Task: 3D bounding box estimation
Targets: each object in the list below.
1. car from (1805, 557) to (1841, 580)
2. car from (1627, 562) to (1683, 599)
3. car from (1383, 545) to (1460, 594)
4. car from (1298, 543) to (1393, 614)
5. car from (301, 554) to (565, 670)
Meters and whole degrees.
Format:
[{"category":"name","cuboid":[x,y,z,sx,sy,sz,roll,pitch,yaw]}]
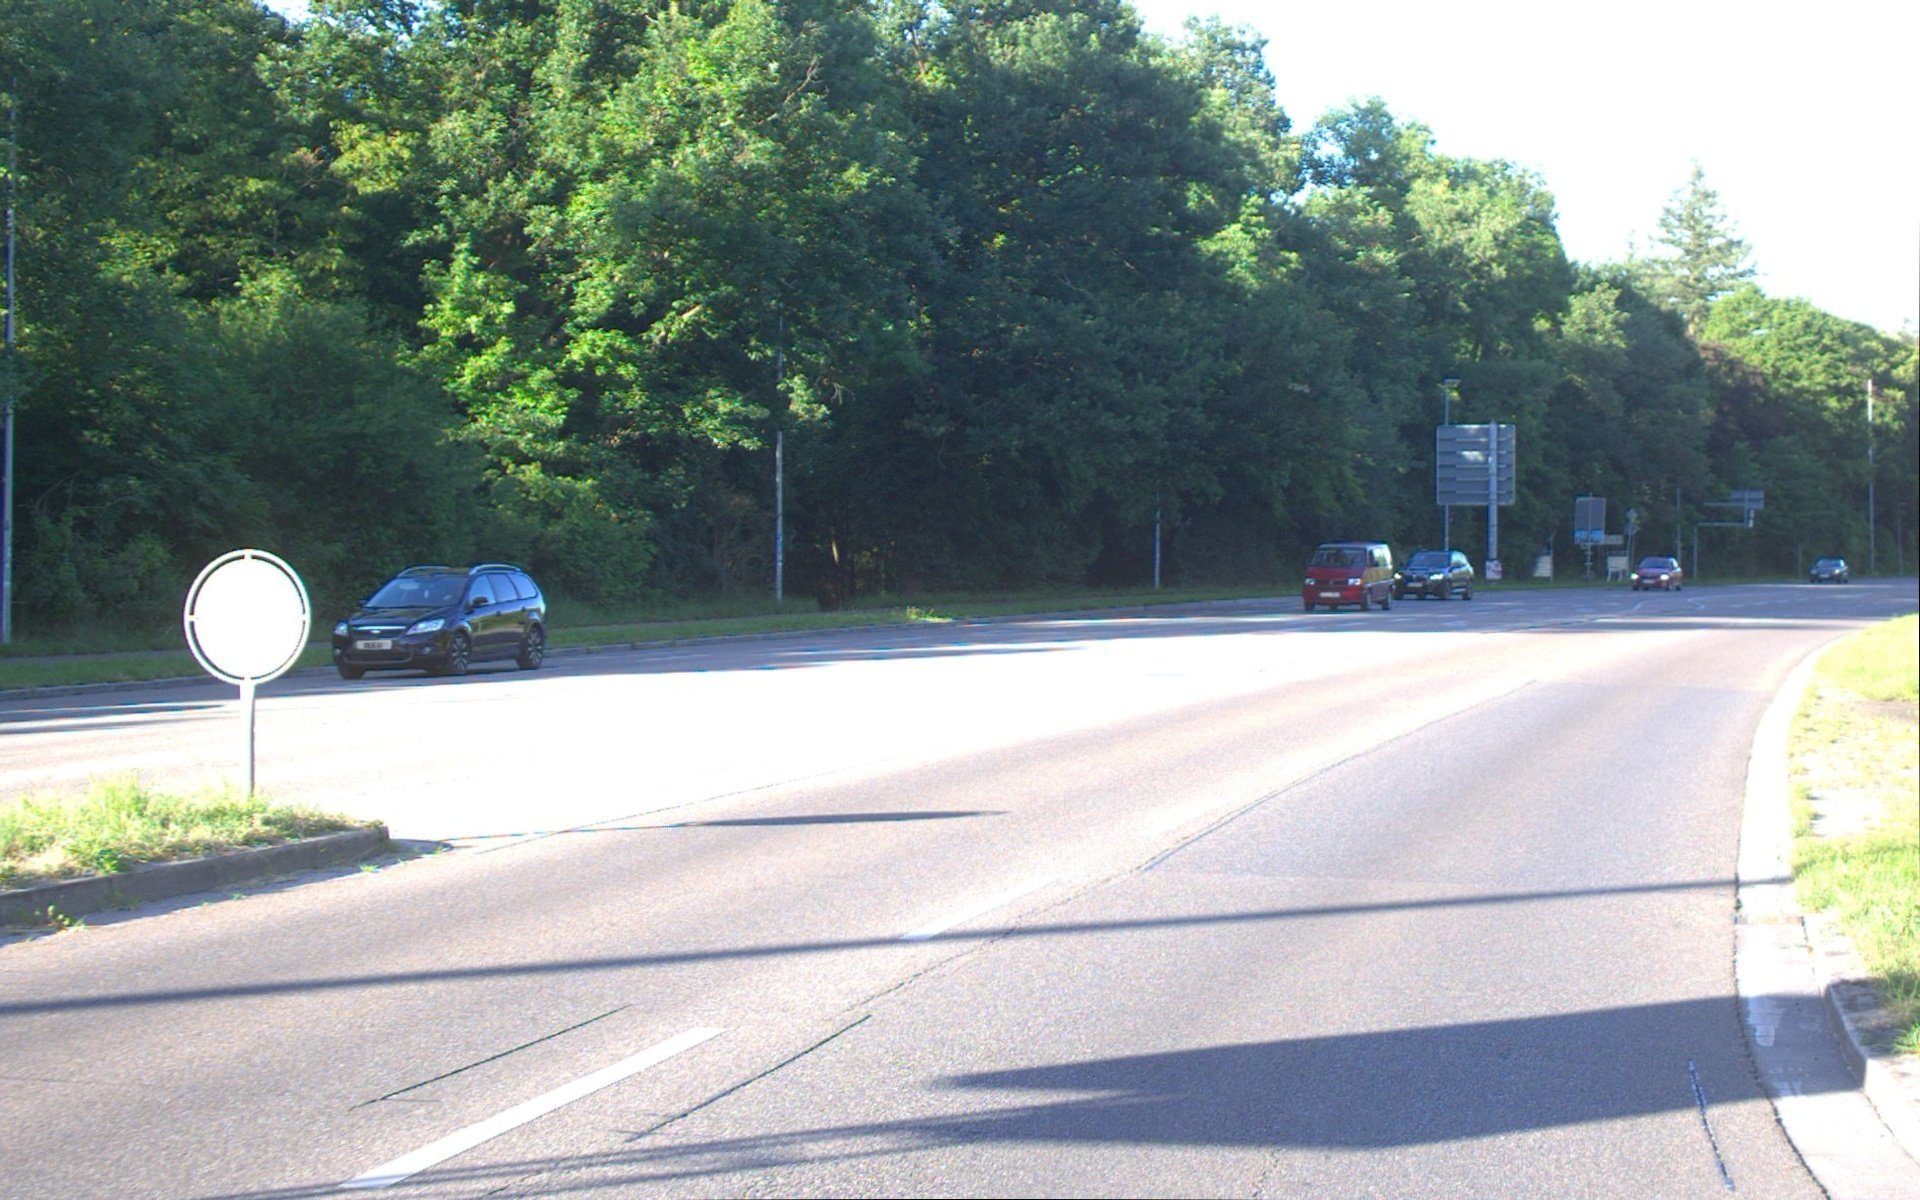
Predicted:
[{"category":"car","cuboid":[49.222,-1.800,195.994,1.745,1.230,4.670,1,1,17]},{"category":"car","cuboid":[30.538,-0.882,151.054,1.995,1.559,4.335,1,1,17]},{"category":"car","cuboid":[15.732,-1.049,116.954,1.995,1.631,4.840,1,1,15]},{"category":"car","cuboid":[10.930,-0.610,97.229,1.995,1.955,4.645,-1,0,15]},{"category":"car","cuboid":[-7.413,0.146,48.839,1.995,1.559,4.645,-1,0,15]}]
